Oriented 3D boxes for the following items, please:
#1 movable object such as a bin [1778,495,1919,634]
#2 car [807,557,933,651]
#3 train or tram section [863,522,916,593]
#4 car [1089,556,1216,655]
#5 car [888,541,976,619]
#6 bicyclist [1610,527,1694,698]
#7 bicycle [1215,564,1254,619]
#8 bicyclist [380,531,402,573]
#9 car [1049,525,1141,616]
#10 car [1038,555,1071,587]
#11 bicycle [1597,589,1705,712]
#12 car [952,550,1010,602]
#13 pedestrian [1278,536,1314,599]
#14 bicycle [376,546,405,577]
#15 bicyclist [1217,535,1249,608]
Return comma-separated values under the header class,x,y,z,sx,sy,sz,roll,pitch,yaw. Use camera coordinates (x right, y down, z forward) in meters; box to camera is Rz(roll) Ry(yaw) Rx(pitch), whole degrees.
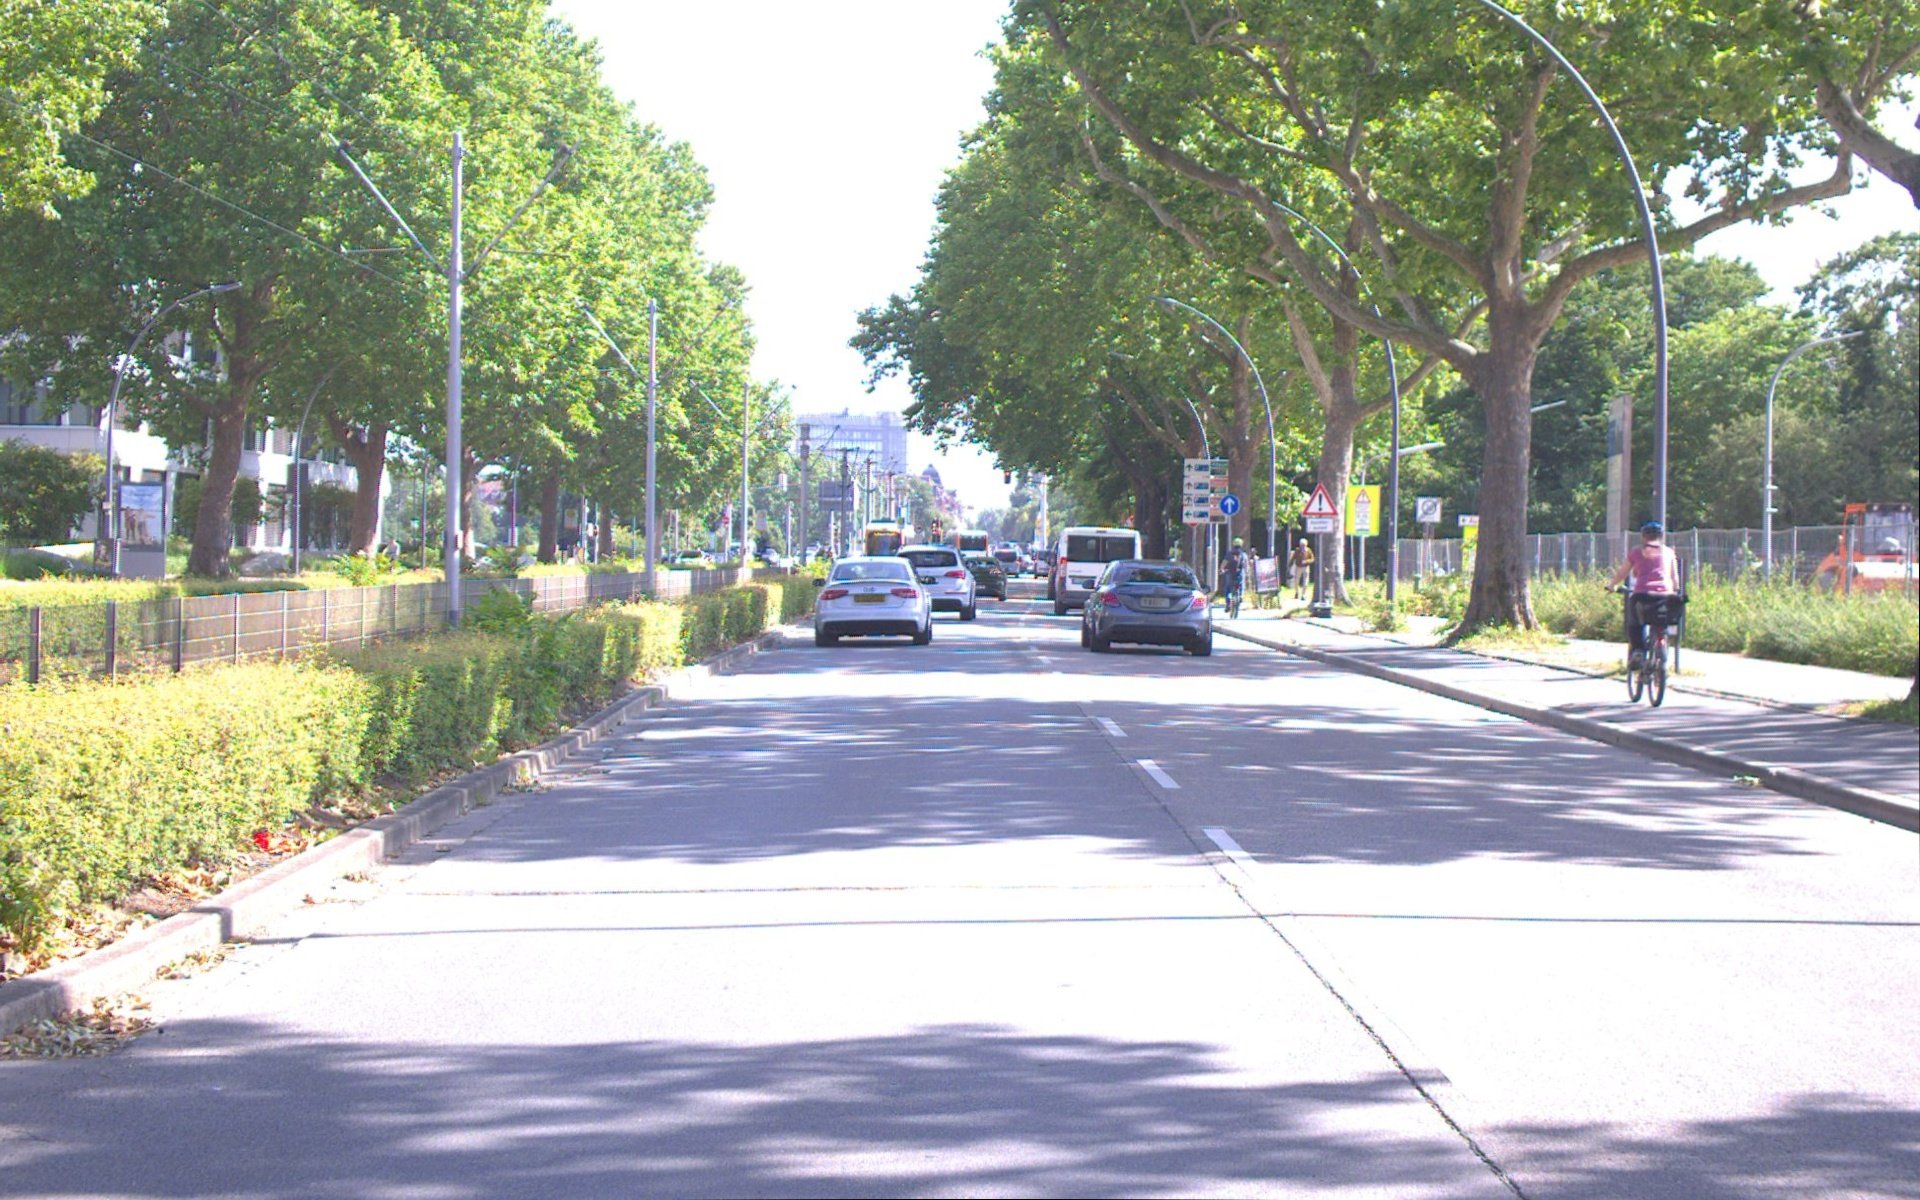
class,x,y,z,sx,sy,sz,roll,pitch,yaw
movable object such as a bin,21.060,-0.827,80.005,2.369,3.061,5.986,2,1,-2
car,-1.404,0.049,55.168,1.785,1.416,3.885,1,1,1
train or tram section,-4.078,-2.481,200.643,2.617,4.001,7.748,1,1,2
car,2.906,0.060,52.666,1.782,1.415,4.000,1,1,1
car,-0.573,-0.439,74.118,1.729,1.599,3.885,1,1,1
bicyclist,6.569,0.112,32.655,0.620,1.594,0.732,-1,1,-1
bicycle,6.288,-0.209,78.861,0.714,1.144,2.178,-1,3,0
bicyclist,-20.980,-1.769,126.837,0.654,1.529,0.641,1,1,2
car,3.389,-0.754,87.069,2.230,2.204,4.162,1,1,1
car,6.114,-1.875,222.006,2.072,1.992,4.058,1,1,1
bicycle,6.554,0.462,32.689,0.651,1.125,1.945,0,0,0
car,0.688,-0.781,110.145,1.729,1.599,3.885,1,1,1
pedestrian,10.151,-0.988,103.892,0.939,1.886,1.151,1,1,1
bicycle,-20.993,-1.416,126.788,0.664,1.120,2.031,2,1,2
bicyclist,6.260,-0.658,78.863,0.634,1.642,0.979,-1,2,0
